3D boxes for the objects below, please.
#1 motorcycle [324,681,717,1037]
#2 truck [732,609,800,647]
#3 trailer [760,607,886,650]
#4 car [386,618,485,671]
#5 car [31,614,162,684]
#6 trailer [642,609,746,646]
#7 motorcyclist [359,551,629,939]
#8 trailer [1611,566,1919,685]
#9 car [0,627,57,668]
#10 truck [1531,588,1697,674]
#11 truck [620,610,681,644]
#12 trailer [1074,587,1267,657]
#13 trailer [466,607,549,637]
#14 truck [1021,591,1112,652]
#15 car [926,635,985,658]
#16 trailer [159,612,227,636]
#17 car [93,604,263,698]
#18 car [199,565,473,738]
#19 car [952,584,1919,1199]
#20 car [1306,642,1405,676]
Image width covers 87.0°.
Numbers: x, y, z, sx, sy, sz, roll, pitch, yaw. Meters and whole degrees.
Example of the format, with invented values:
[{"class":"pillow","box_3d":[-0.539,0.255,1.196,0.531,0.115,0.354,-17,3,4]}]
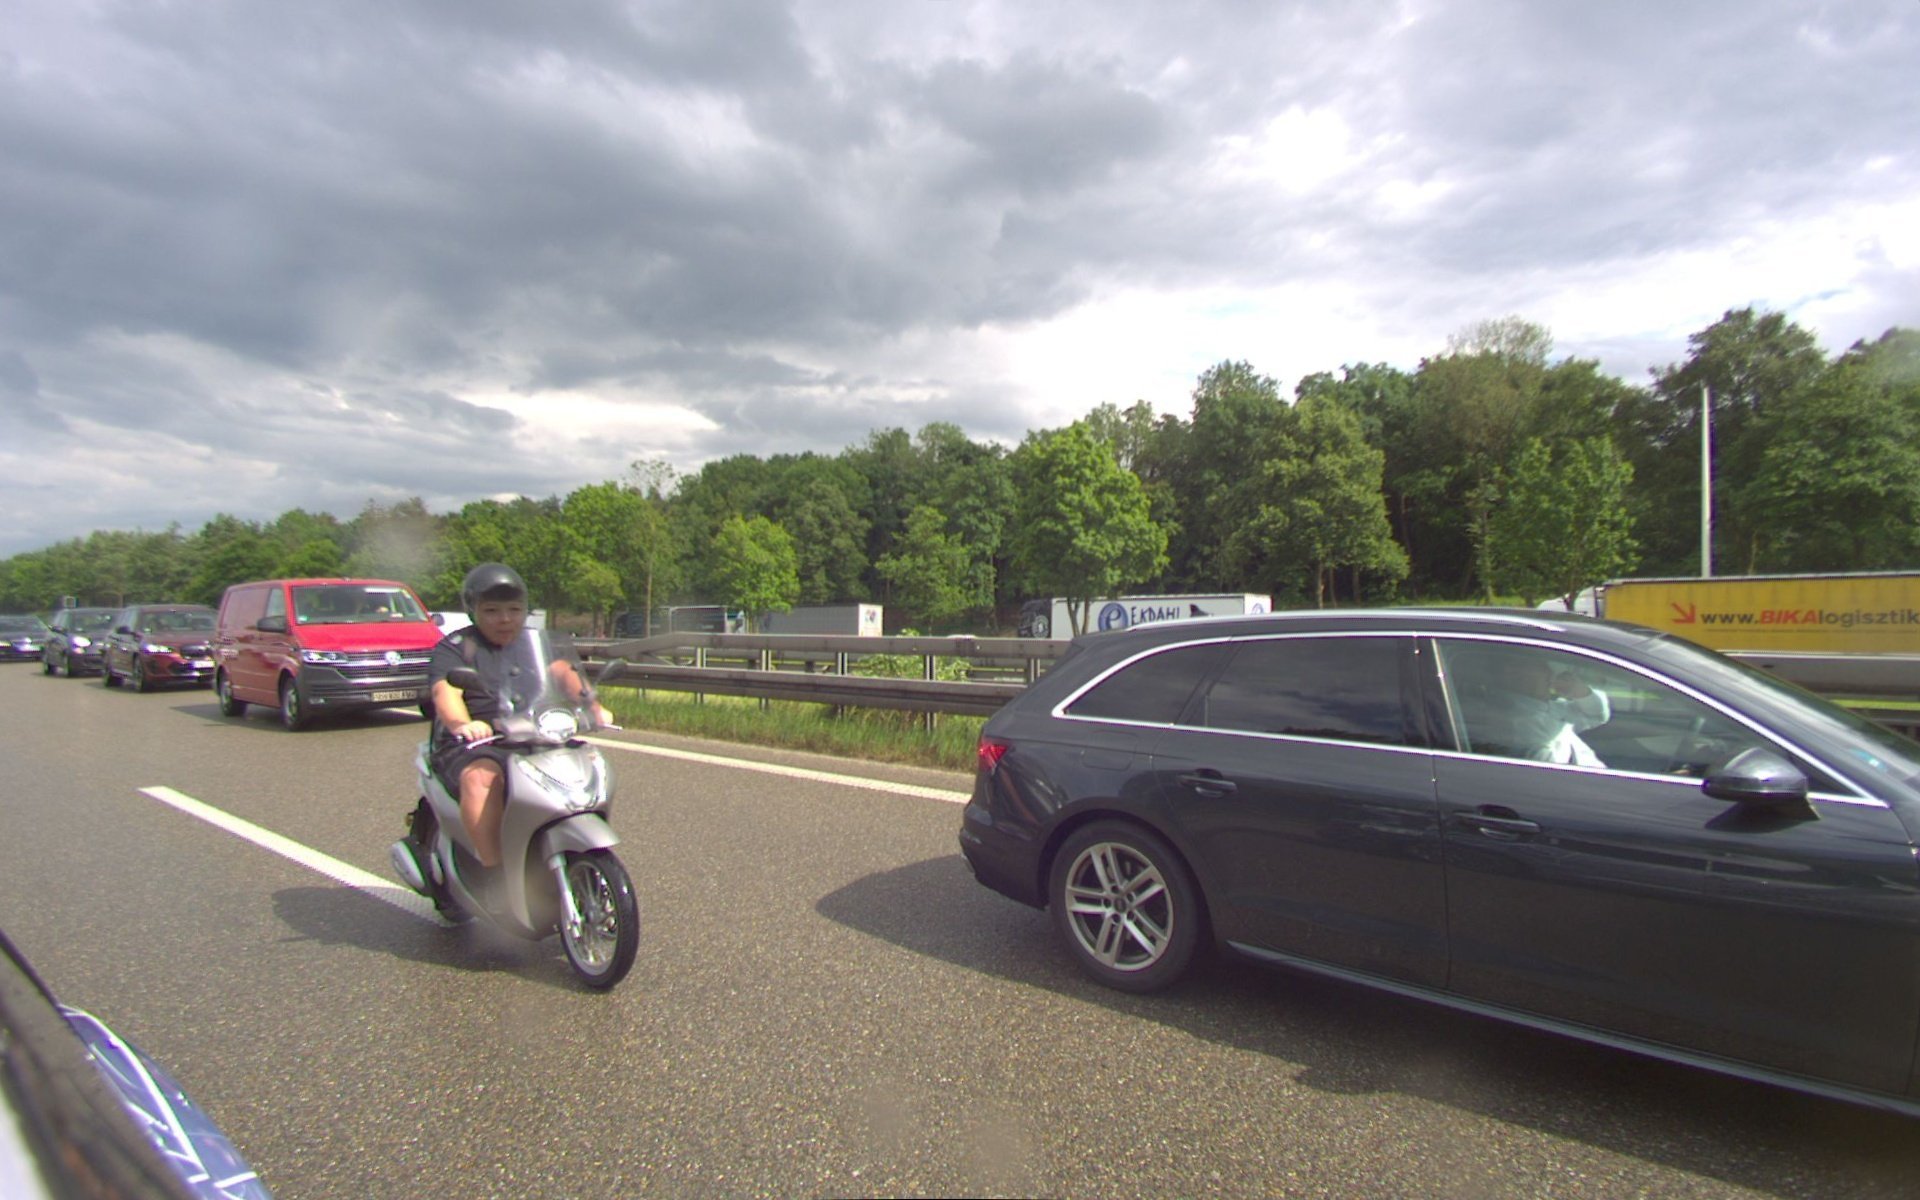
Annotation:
[{"class":"motorcycle","box_3d":[-1.944,0.948,4.318,1.979,1.095,0.669,-1,0,38]},{"class":"truck","box_3d":[-16.671,2.408,86.702,5.596,3.208,3.009,-1,-2,43]},{"class":"trailer","box_3d":[-11.218,2.286,81.648,12.173,3.217,2.987,-1,-2,43]},{"class":"car","box_3d":[-21.475,1.758,41.338,4.727,2.029,1.973,-1,0,40]},{"class":"car","box_3d":[-21.387,1.144,25.026,4.051,1.578,1.871,-1,-1,41]},{"class":"trailer","box_3d":[-24.839,2.538,94.014,12.640,3.296,2.577,-1,-3,41]},{"class":"motorcyclist","box_3d":[-2.021,0.546,4.376,1.018,1.453,0.664,-1,0,38]},{"class":"trailer","box_3d":[29.772,0.806,33.796,1.967,3.723,13.688,0,0,-37]},{"class":"car","box_3d":[-30.882,1.513,32.965,3.997,1.245,1.654,-1,-1,40]},{"class":"truck","box_3d":[25.448,1.156,39.564,1.950,3.121,5.087,-1,0,-37]},{"class":"truck","box_3d":[-30.162,2.627,98.604,6.532,3.275,2.549,-1,-2,41]},{"class":"trailer","box_3d":[11.506,1.262,57.093,2.156,3.627,11.734,2,-2,-41]},{"class":"trailer","box_3d":[-51.885,2.569,115.868,12.631,3.296,3.153,-1,-2,38]},{"class":"truck","box_3d":[6.541,1.340,62.705,2.136,3.648,5.585,2,-2,-42]},{"class":"car","box_3d":[-0.327,3.240,70.501,4.002,1.514,1.873,-1,-3,45]},{"class":"trailer","box_3d":[-117.707,3.663,155.285,13.352,3.539,2.681,0,-2,27]},{"class":"car","box_3d":[-15.733,0.946,20.279,4.292,1.682,1.871,-1,-1,40]},{"class":"car","box_3d":[-8.744,0.638,13.988,4.747,2.000,1.871,-1,-1,41]},{"class":"car","box_3d":[2.217,0.683,3.437,4.464,1.422,1.702,-1,-1,40]},{"class":"car","box_3d":[18.904,2.790,48.440,1.871,1.514,4.005,2,-2,-41]}]
